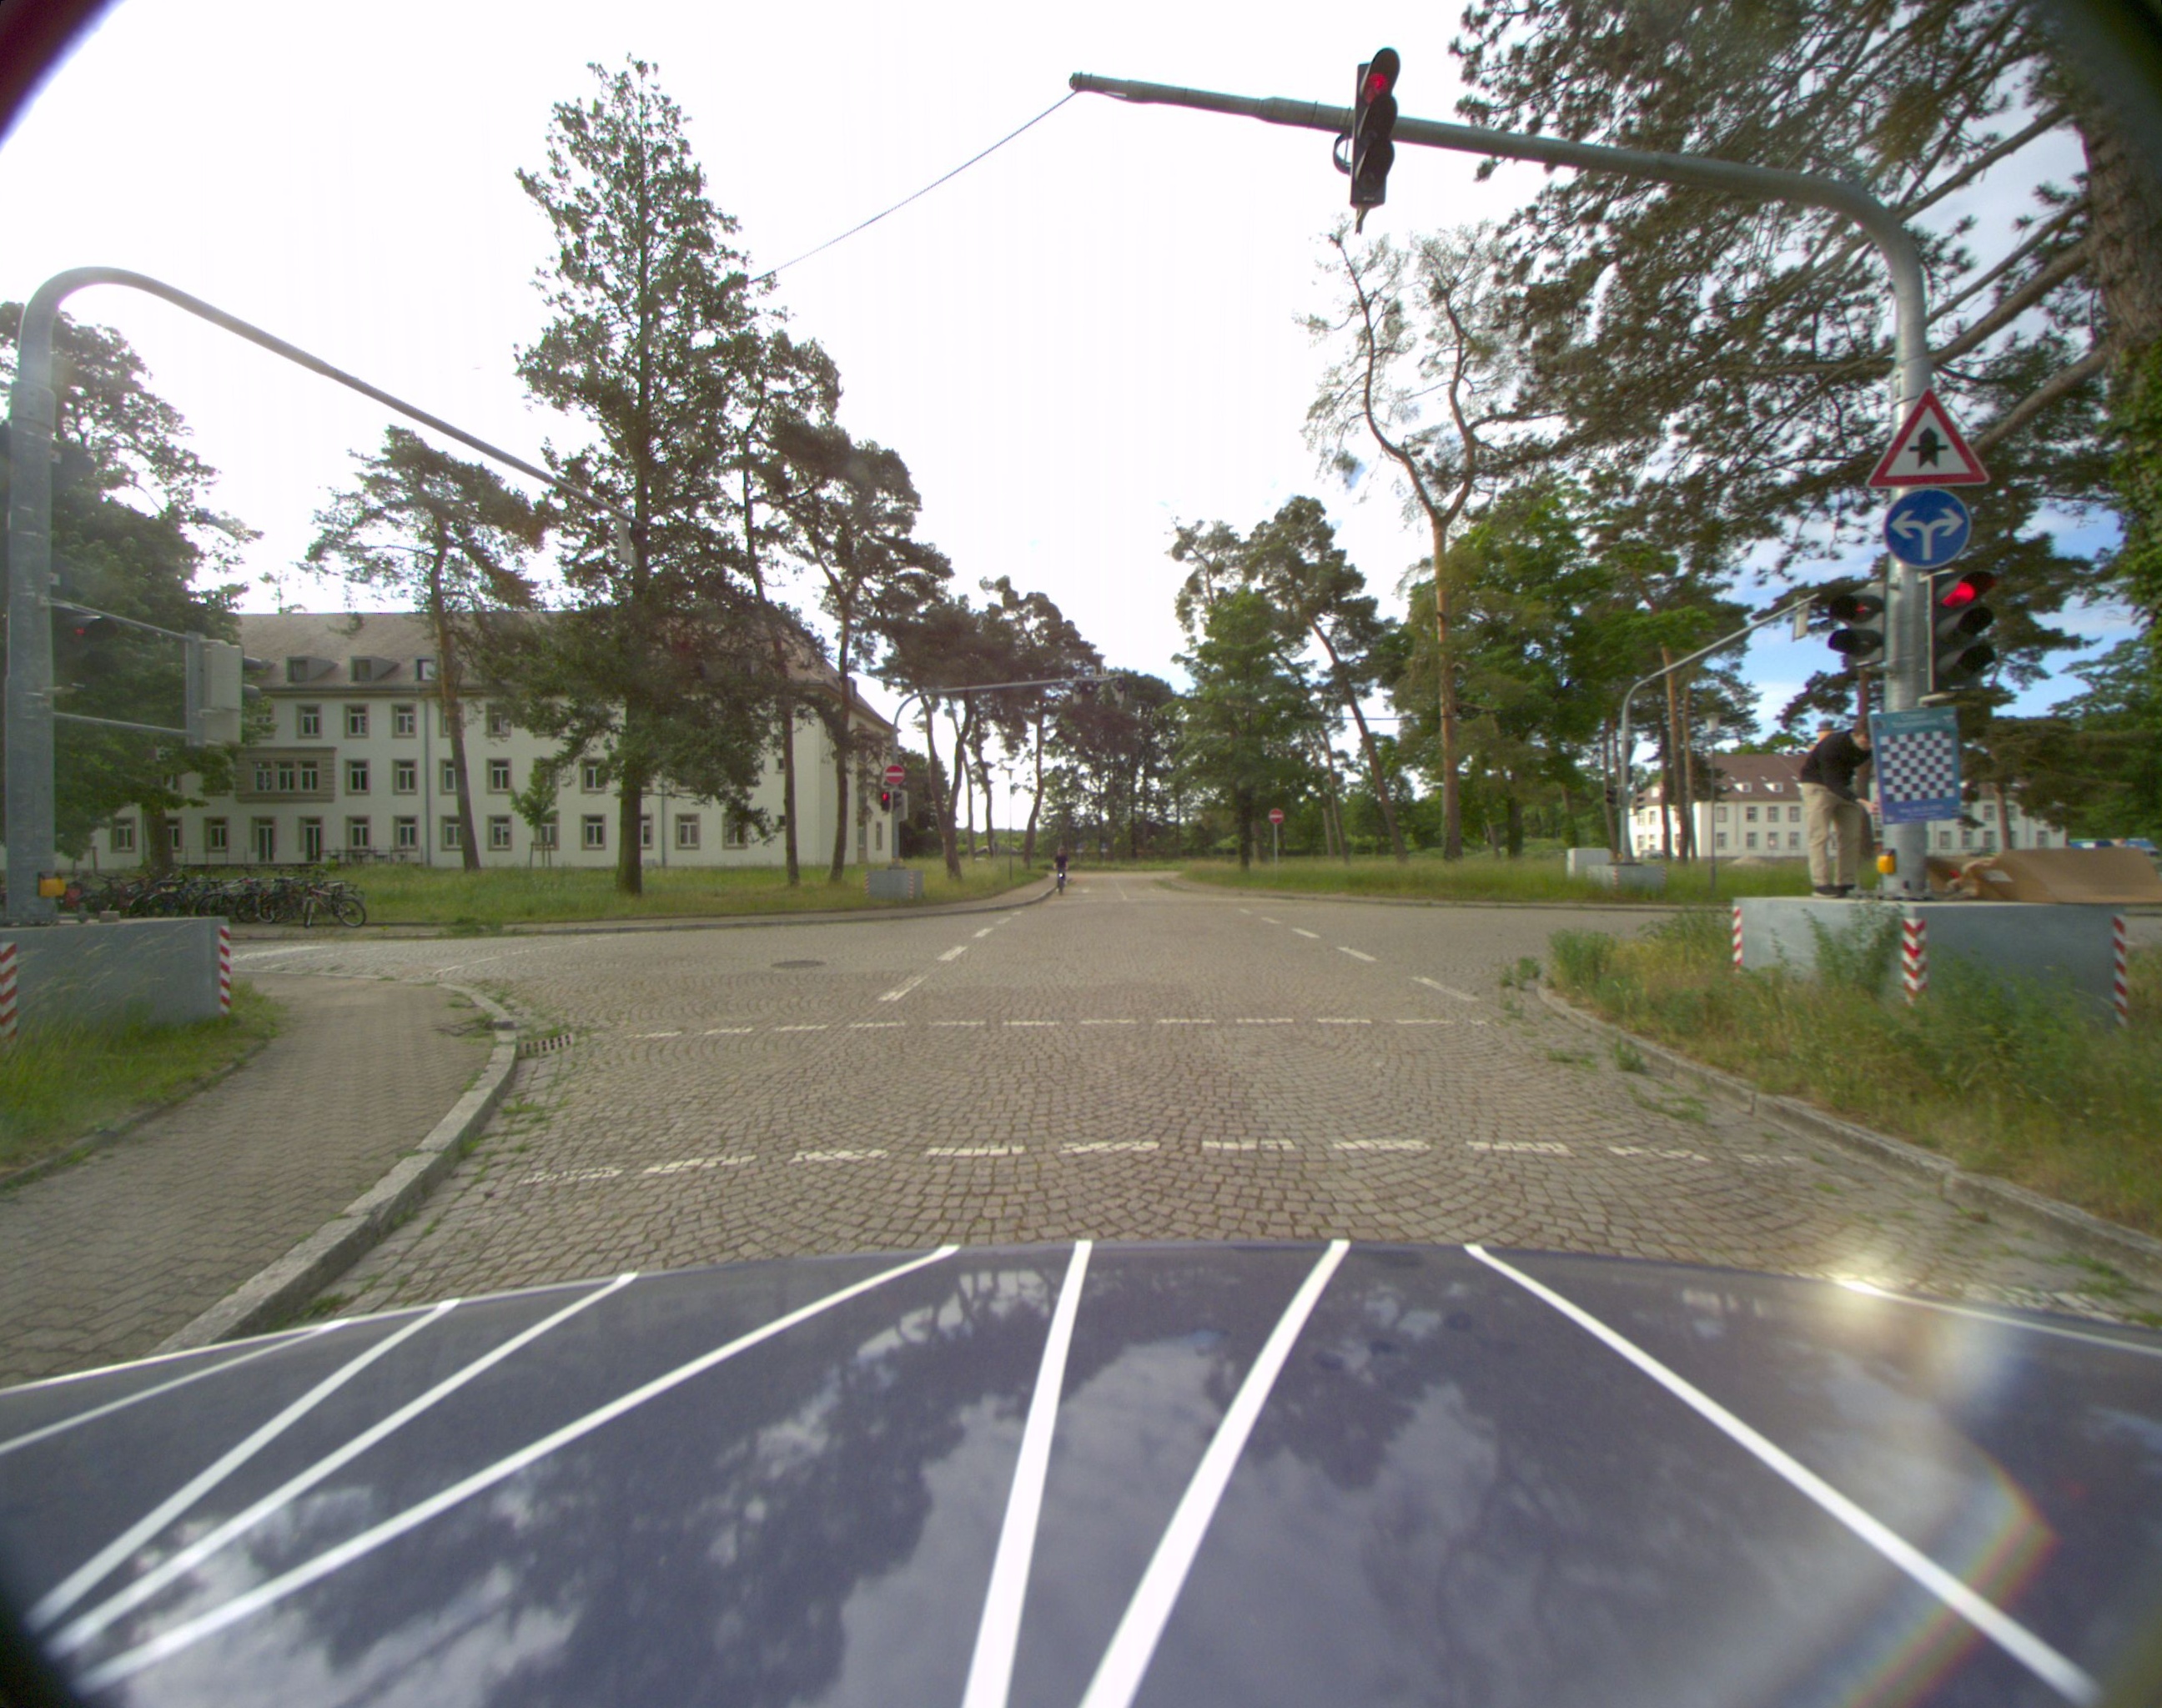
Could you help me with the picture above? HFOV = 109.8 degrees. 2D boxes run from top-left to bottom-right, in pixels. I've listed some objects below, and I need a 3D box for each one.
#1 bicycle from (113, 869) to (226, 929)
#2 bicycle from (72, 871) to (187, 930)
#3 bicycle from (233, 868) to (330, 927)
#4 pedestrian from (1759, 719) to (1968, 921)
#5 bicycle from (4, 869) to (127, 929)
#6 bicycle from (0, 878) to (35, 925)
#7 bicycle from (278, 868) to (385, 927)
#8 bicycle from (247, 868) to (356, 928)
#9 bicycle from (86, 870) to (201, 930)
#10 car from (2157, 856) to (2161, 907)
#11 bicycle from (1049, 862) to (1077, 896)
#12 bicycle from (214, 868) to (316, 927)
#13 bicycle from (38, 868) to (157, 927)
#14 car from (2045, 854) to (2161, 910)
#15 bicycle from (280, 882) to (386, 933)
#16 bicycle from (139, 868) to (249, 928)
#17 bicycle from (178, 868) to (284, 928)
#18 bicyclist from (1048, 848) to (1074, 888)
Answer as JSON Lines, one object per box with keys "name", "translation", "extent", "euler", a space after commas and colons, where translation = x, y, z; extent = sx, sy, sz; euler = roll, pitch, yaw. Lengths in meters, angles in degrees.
{"name": "bicycle", "translation": [-21.987, 1.055, 18.391], "extent": [0.572, 1.324, 1.837], "euler": [-1, 0, -4]}
{"name": "bicycle", "translation": [-23.312, 1.096, 18.671], "extent": [0.572, 1.324, 1.837], "euler": [-1, 0, -4]}
{"name": "bicycle", "translation": [-19.367, 1.029, 18.472], "extent": [0.482, 1.324, 1.837], "euler": [-1, 0, -4]}
{"name": "pedestrian", "translation": [6.306, -0.256, 6.193], "extent": [0.882, 1.509, 0.822], "euler": [0, 1, 16]}
{"name": "bicycle", "translation": [-24.624, 1.061, 18.477], "extent": [0.572, 1.324, 1.837], "euler": [-1, 0, -4]}
{"name": "bicycle", "translation": [-27.745, 1.231, 19.046], "extent": [0.572, 1.180, 1.837], "euler": [-1, 0, -5]}
{"name": "bicycle", "translation": [-18.240, 1.032, 18.553], "extent": [0.572, 1.324, 1.839], "euler": [0, 0, 9]}
{"name": "bicycle", "translation": [-18.870, 1.032, 18.450], "extent": [0.572, 1.324, 1.839], "euler": [0, 0, 9]}
{"name": "bicycle", "translation": [-22.707, 1.078, 18.457], "extent": [0.572, 1.324, 1.837], "euler": [-1, 0, -4]}
{"name": "car", "translation": [33.334, 0.752, 20.580], "extent": [1.840, 1.512, 4.585], "euler": [0, -1, -1]}
{"name": "bicycle", "translation": [-0.713, 0.993, 30.856], "extent": [0.963, 1.268, 2.164], "euler": [0, 0, 3]}
{"name": "bicycle", "translation": [-19.799, 1.023, 18.492], "extent": [0.572, 1.324, 1.837], "euler": [-1, 0, -4]}
{"name": "bicycle", "translation": [-23.912, 1.031, 18.533], "extent": [0.572, 1.324, 1.837], "euler": [-1, 0, -4]}
{"name": "car", "translation": [30.620, 0.756, 21.038], "extent": [1.841, 1.538, 4.583], "euler": [0, -1, -6]}
{"name": "bicycle", "translation": [-16.578, 1.182, 16.852], "extent": [1.836, 1.079, 0.573], "euler": [0, 3, 5]}
{"name": "bicycle", "translation": [-21.421, 1.036, 18.406], "extent": [0.572, 1.324, 1.837], "euler": [-1, 0, -4]}
{"name": "bicycle", "translation": [-20.566, 1.030, 18.443], "extent": [0.572, 1.324, 1.837], "euler": [-1, 0, -4]}
{"name": "bicyclist", "translation": [-0.794, 0.558, 30.842], "extent": [0.963, 1.626, 0.918], "euler": [0, 1, 3]}
